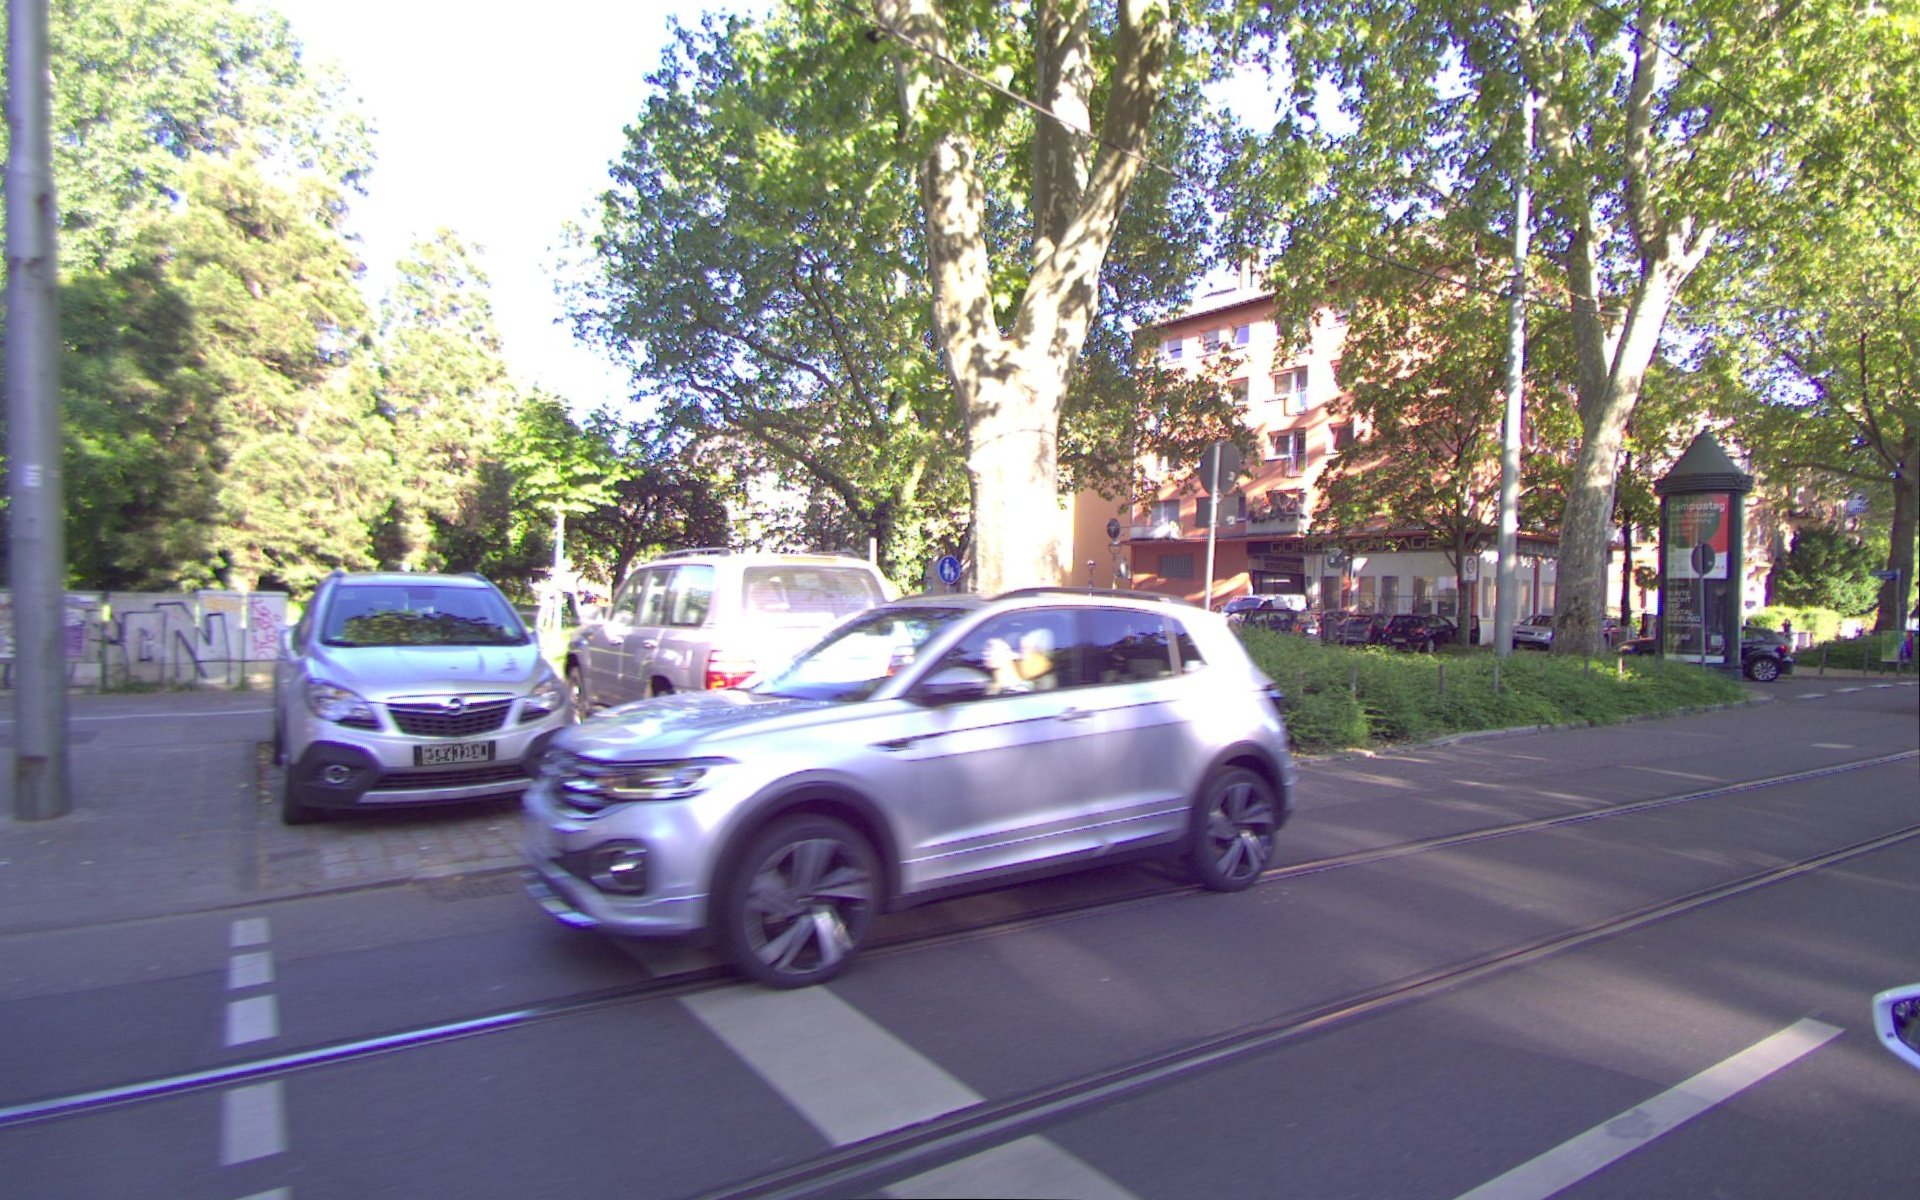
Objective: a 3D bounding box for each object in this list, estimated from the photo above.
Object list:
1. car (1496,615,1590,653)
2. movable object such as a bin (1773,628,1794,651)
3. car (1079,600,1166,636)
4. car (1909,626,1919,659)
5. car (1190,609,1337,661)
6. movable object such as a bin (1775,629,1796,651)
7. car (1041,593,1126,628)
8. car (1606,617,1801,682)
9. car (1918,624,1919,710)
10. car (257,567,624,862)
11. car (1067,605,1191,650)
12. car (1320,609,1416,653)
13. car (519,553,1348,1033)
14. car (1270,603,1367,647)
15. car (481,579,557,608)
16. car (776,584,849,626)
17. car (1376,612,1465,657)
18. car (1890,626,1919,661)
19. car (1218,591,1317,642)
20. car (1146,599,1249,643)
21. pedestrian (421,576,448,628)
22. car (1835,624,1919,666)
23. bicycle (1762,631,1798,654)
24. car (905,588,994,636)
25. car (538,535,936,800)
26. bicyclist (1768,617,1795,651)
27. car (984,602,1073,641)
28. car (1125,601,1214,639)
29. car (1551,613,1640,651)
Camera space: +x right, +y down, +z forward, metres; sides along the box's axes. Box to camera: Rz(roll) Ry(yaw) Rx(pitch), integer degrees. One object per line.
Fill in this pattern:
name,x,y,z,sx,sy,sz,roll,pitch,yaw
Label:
car,24.126,1.422,41.556,3.855,1.426,1.934,2,0,-36
movable object such as a bin,43.005,2.055,52.466,0.537,1.124,0.720,2,1,-34
car,8.031,0.881,49.453,4.453,1.639,1.925,2,1,-44
car,45.373,2.009,44.947,1.836,1.484,3.959,2,1,-36
car,10.243,1.153,34.210,1.846,1.509,4.486,2,1,-41
movable object such as a bin,43.434,2.105,52.865,0.555,1.124,0.718,2,1,-34
car,6.343,0.538,51.287,4.453,1.639,1.925,2,1,-44
car,20.095,1.279,27.270,1.729,1.468,3.952,1,1,-41
car,18.134,1.179,17.392,3.440,1.463,1.649,2,-1,-36
car,-4.275,0.616,7.882,1.885,1.668,4.108,2,1,-37
car,6.387,1.014,38.315,1.811,1.469,4.424,2,1,-43
car,15.973,1.205,39.233,3.972,1.546,1.974,2,1,-44
car,0.064,0.703,5.286,4.077,1.589,1.803,2,-2,-36
car,14.664,1.022,40.920,1.973,1.639,4.530,2,1,44
car,-27.148,-0.399,61.889,4.059,1.639,1.881,2,0,-32
car,-8.588,0.262,58.131,2.026,2.227,4.691,2,1,-39
car,17.269,1.271,37.580,1.793,1.513,3.976,2,1,43
car,42.884,1.944,43.584,1.741,1.484,3.399,2,0,-34
car,13.227,0.723,43.042,1.973,2.030,4.890,2,1,44
car,10.760,0.961,45.353,4.880,1.869,1.977,2,1,-40
pedestrian,-17.479,0.048,33.446,0.702,1.695,0.774,2,1,-24
car,36.812,1.773,39.394,1.679,1.484,3.399,2,1,-34
bicycle,38.872,2.024,47.604,2.564,1.012,0.959,2,1,-43
car,-0.528,0.549,47.049,1.987,2.040,3.948,2,1,-44
car,-2.338,0.437,9.433,1.921,1.858,4.537,2,1,-37
bicyclist,39.034,1.613,47.736,1.108,1.527,0.792,1,1,-41
car,2.886,0.903,42.734,1.675,1.469,3.675,2,1,-41
car,9.963,0.960,47.647,4.453,1.639,1.925,2,1,-44
car,27.834,1.403,43.975,3.962,1.507,1.934,2,0,-36
